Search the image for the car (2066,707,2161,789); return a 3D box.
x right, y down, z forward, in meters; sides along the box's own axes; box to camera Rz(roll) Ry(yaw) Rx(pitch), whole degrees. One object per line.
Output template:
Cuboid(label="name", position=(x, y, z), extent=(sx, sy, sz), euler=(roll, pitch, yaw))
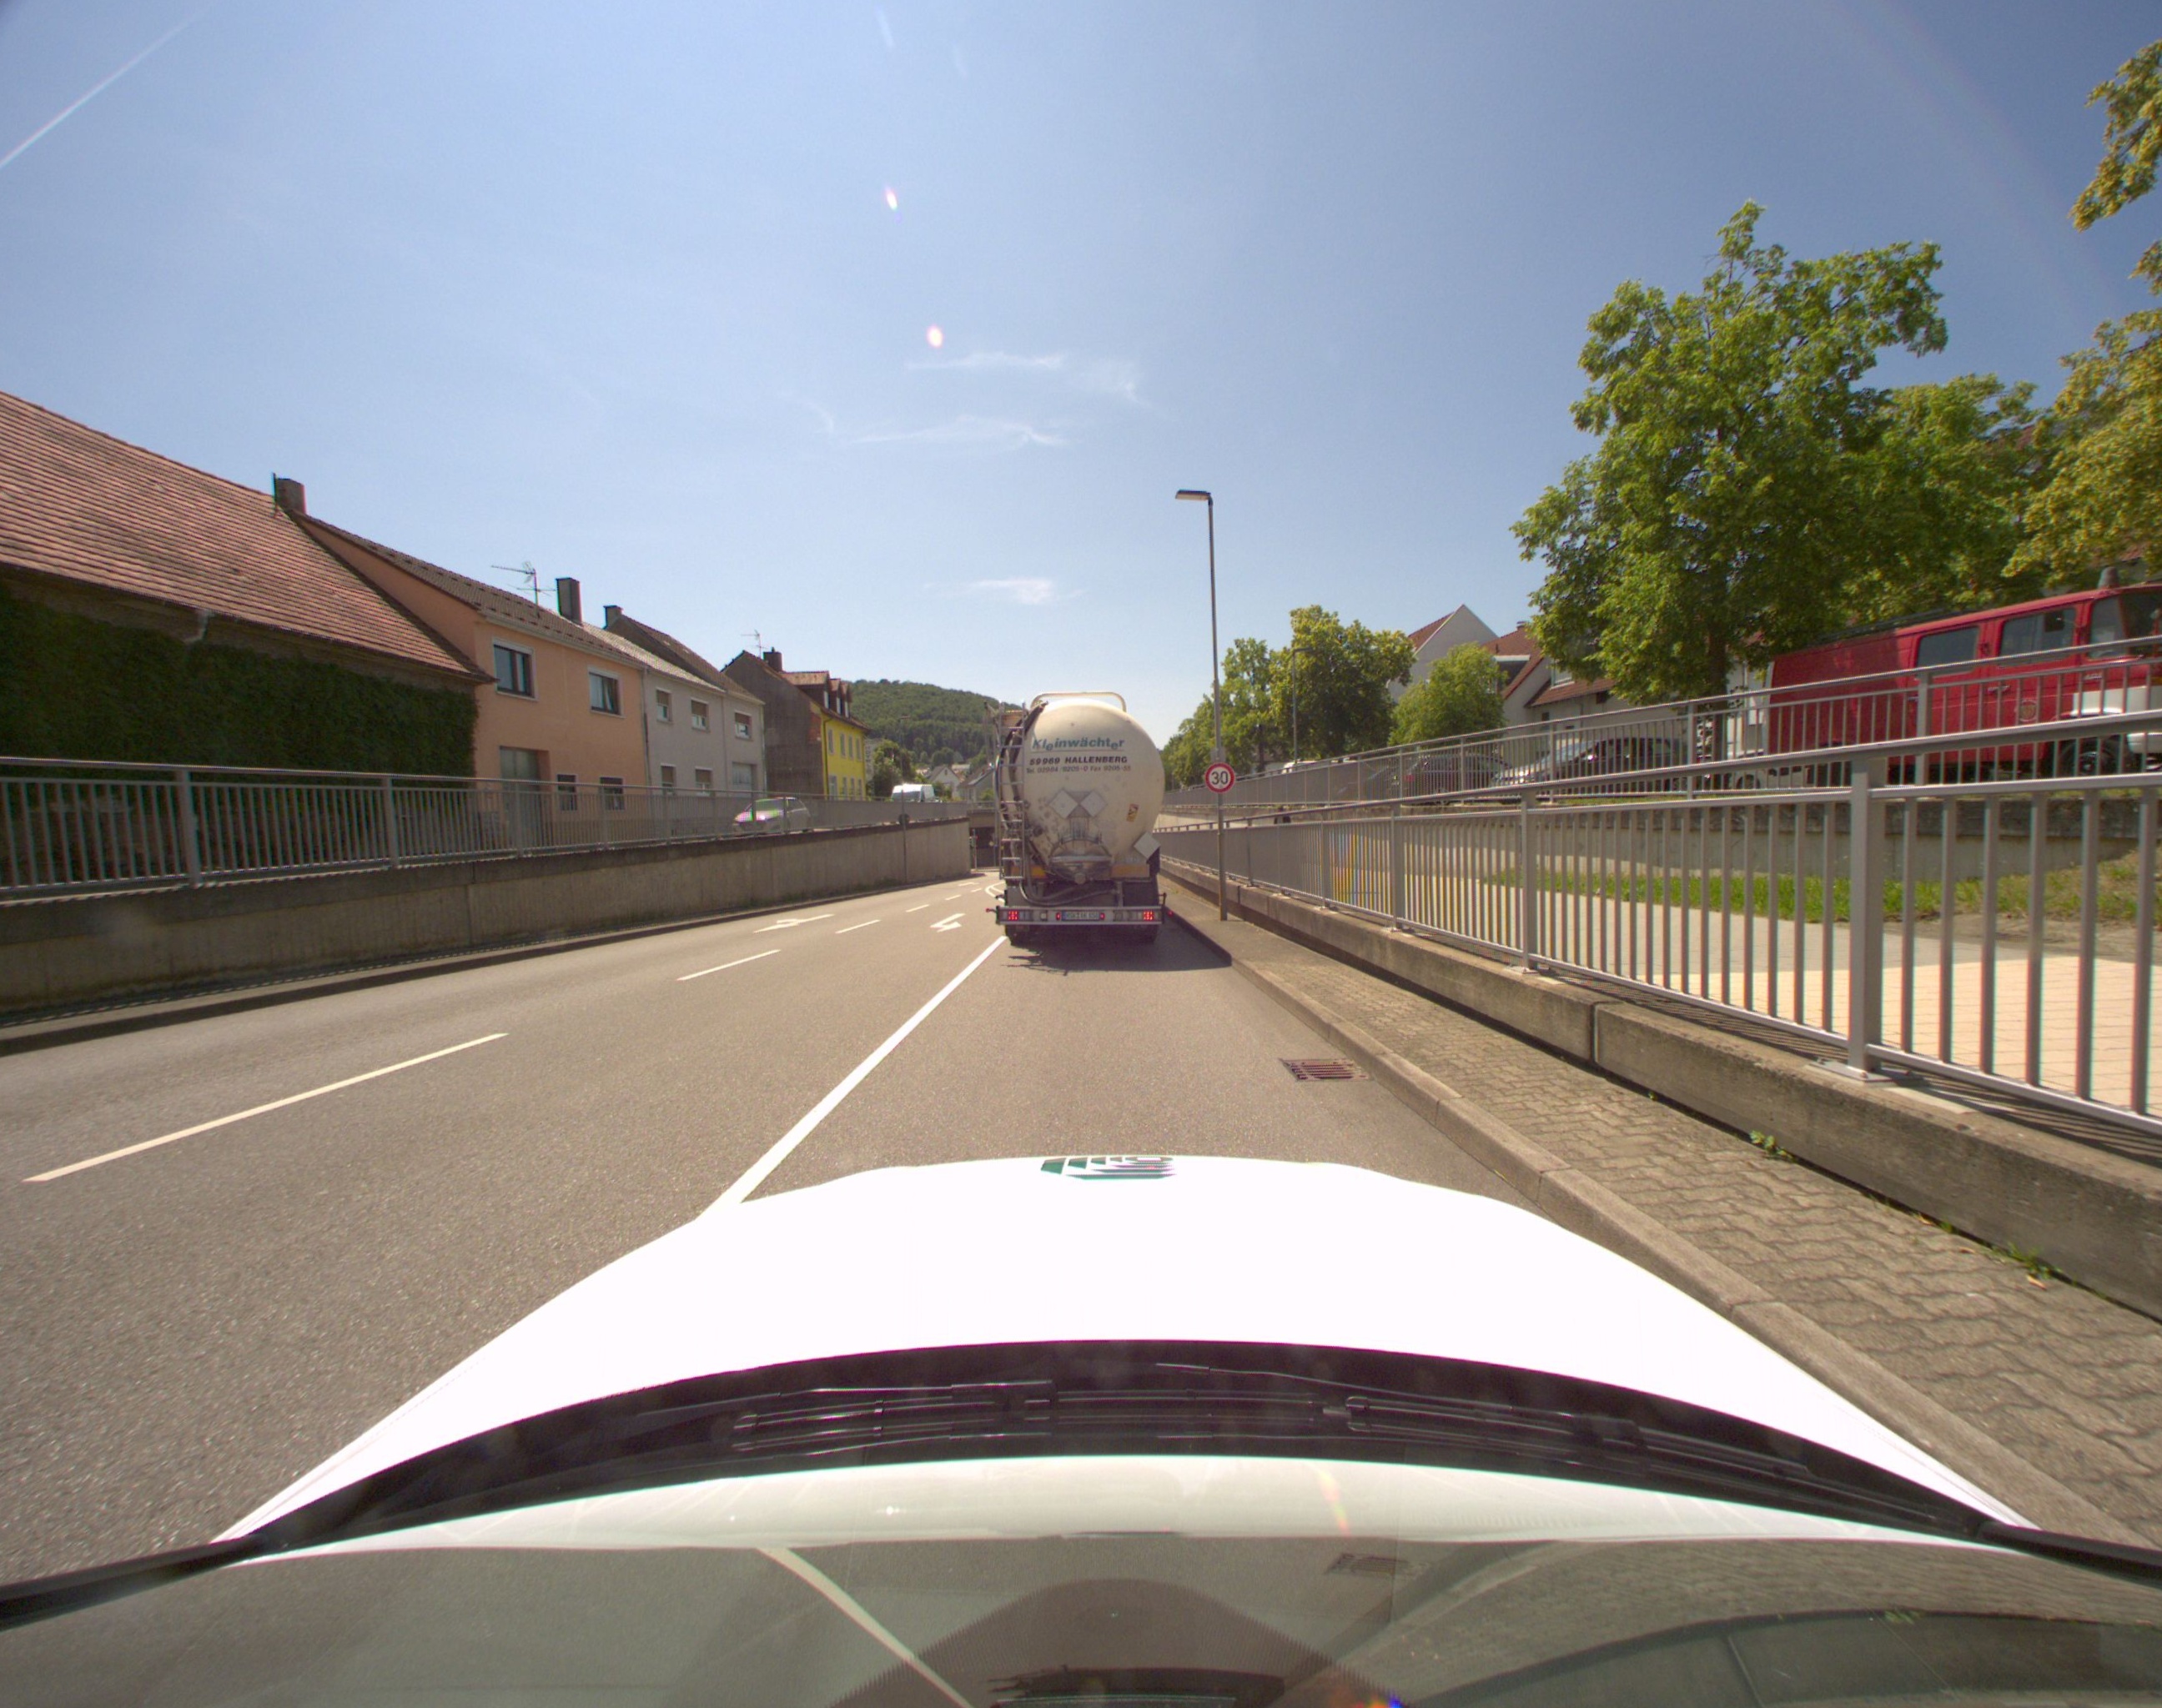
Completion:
Cuboid(label="car", position=(21.979, -2.139, 15.665), extent=(3.924, 1.477, 1.758), euler=(-4, 3, 0))

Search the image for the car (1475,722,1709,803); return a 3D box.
Cuboid(label="car", position=(10.913, -1.930, 17.586), extent=(3.972, 1.498, 1.750), euler=(-2, 3, 1))

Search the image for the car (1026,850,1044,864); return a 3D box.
Cuboid(label="car", position=(-5.406, 0.338, 95.829), extent=(1.754, 1.489, 4.370), euler=(-1, 0, 1))

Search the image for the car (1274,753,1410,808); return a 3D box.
Cuboid(label="car", position=(10.954, -3.050, 34.384), extent=(5.093, 2.063, 1.990), euler=(-2, 3, 1))

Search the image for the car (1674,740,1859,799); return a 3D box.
Cuboid(label="car", position=(21.761, -2.655, 25.966), extent=(4.391, 1.489, 1.758), euler=(-4, 3, 0))

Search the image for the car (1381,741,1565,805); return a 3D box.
Cuboid(label="car", position=(10.526, -2.166, 22.054), extent=(4.189, 1.498, 1.687), euler=(-2, 3, 1))

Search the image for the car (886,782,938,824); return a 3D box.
Cuboid(label="car", position=(-10.734, -3.240, 52.139), extent=(2.059, 2.535, 5.662), euler=(0, 3, 0))

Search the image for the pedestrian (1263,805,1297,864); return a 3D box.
Cuboid(label="pedestrian", position=(6.187, -0.610, 25.369), extent=(0.833, 1.782, 0.788), euler=(-2, 0, 1))

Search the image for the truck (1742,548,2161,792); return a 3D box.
Cuboid(label="truck", position=(11.981, -2.086, 10.829), extent=(2.125, 2.333, 5.261), euler=(-2, 3, 0))

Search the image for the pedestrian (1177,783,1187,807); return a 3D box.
Cuboid(label="pedestrian", position=(7.794, -4.557, 62.923), extent=(0.670, 1.779, 0.594), euler=(-2, 2, 2))

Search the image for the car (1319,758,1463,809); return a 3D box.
Cuboid(label="car", position=(10.548, -2.384, 27.881), extent=(4.270, 1.498, 1.750), euler=(-2, 3, 1))

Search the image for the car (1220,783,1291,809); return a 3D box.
Cuboid(label="car", position=(10.388, -3.468, 48.715), extent=(3.891, 1.367, 1.687), euler=(-2, 3, 1))

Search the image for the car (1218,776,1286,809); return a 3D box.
Cuboid(label="car", position=(10.734, -3.875, 51.305), extent=(3.891, 1.884, 1.687), euler=(-2, 3, 1))

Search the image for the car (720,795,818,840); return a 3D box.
Cuboid(label="car", position=(-11.130, -1.345, 29.419), extent=(1.807, 1.462, 4.311), euler=(0, 3, 0))

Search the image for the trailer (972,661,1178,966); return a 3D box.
Cuboid(label="trailer", position=(0.102, -0.554, 17.577), extent=(2.725, 4.064, 13.317), euler=(-1, 0, 2))
